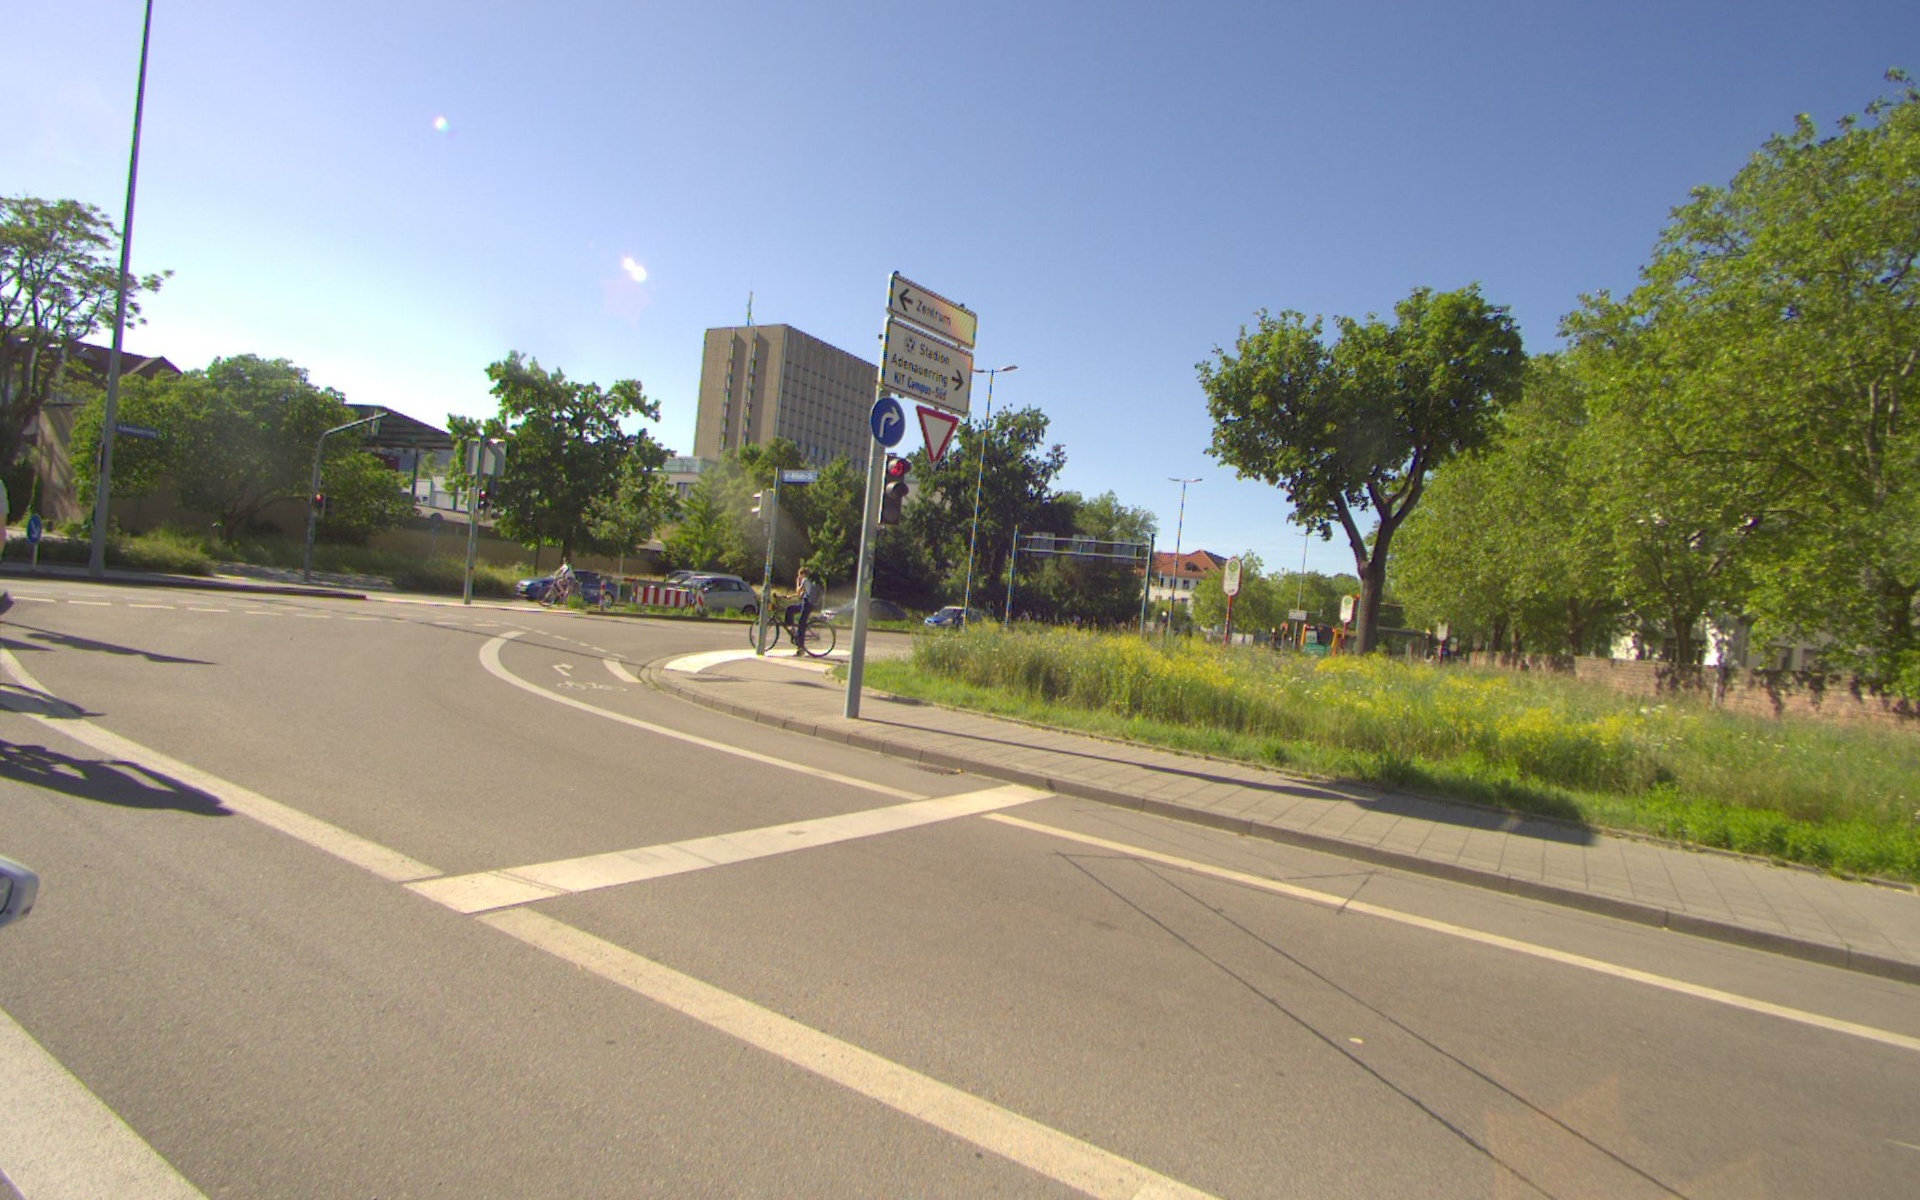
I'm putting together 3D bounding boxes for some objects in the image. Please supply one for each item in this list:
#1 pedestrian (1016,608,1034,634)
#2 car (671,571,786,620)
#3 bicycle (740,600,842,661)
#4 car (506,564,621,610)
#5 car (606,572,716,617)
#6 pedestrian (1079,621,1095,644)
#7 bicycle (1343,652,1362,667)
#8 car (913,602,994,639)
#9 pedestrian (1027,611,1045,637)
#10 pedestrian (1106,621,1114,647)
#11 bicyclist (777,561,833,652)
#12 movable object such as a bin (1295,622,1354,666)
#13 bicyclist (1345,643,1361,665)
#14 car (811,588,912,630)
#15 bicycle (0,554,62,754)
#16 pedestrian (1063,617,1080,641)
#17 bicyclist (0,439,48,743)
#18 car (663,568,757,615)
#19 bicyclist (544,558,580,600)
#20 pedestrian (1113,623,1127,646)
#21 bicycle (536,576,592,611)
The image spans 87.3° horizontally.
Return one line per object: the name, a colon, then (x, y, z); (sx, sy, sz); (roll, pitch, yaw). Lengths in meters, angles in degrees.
pedestrian: (5.373, 1.751, 83.233); (0.752, 2.039, 1.267); (7, 1, 36)
car: (-8.742, -0.131, 38.289); (1.767, 1.415, 3.986); (7, 0, 37)
bicycle: (-3.294, 0.591, 19.677); (1.856, 0.970, 0.635); (7, 1, -10)
car: (-16.212, -0.527, 41.319); (1.767, 1.415, 3.986); (7, 0, 37)
car: (-12.301, -0.201, 41.571); (1.767, 1.415, 3.986); (7, 0, 37)
pedestrian: (11.910, 3.046, 94.086); (0.752, 2.039, 1.267); (7, 1, 36)
bicycle: (28.710, 4.359, 73.574); (0.640, 0.986, 1.895); (7, 1, 39)
car: (-0.296, 1.049, 50.457); (1.916, 1.415, 3.986); (6, 0, 37)
pedestrian: (6.505, 2.062, 86.111); (0.752, 2.039, 1.267); (7, 1, 36)
pedestrian: (14.767, 3.352, 98.941); (0.402, 2.451, 0.467); (6, -1, 34)
bicyclist: (-3.041, 0.124, 19.705); (0.898, 1.667, 0.630); (6, 1, -9)
movable object such as a bin: (28.065, 3.449, 77.132); (2.954, 2.898, 9.178); (6, 0, 27)
bicyclist: (28.728, 3.952, 73.548); (0.632, 1.533, 1.049); (7, 2, 39)
car: (-4.311, 0.434, 44.630); (1.767, 1.415, 4.557); (7, 0, 37)
bicycle: (-6.323, 0.235, 6.122); (1.890, 1.102, 0.690); (6, -1, 32)
pedestrian: (10.107, 2.612, 91.274); (0.752, 2.039, 1.267); (7, 1, 36)
bicyclist: (-6.309, -0.111, 6.130); (1.123, 1.813, 0.684); (7, 0, 32)
car: (-11.844, -0.368, 47.796); (1.767, 1.771, 3.986); (7, 0, 37)
bicyclist: (-13.954, -0.725, 35.296); (0.602, 1.360, 0.874); (7, 1, 37)
pedestrian: (15.636, 3.370, 98.288); (0.752, 2.039, 1.267); (7, 1, 36)
bicycle: (-13.934, -0.227, 35.413); (0.602, 1.046, 1.681); (7, 0, 37)
